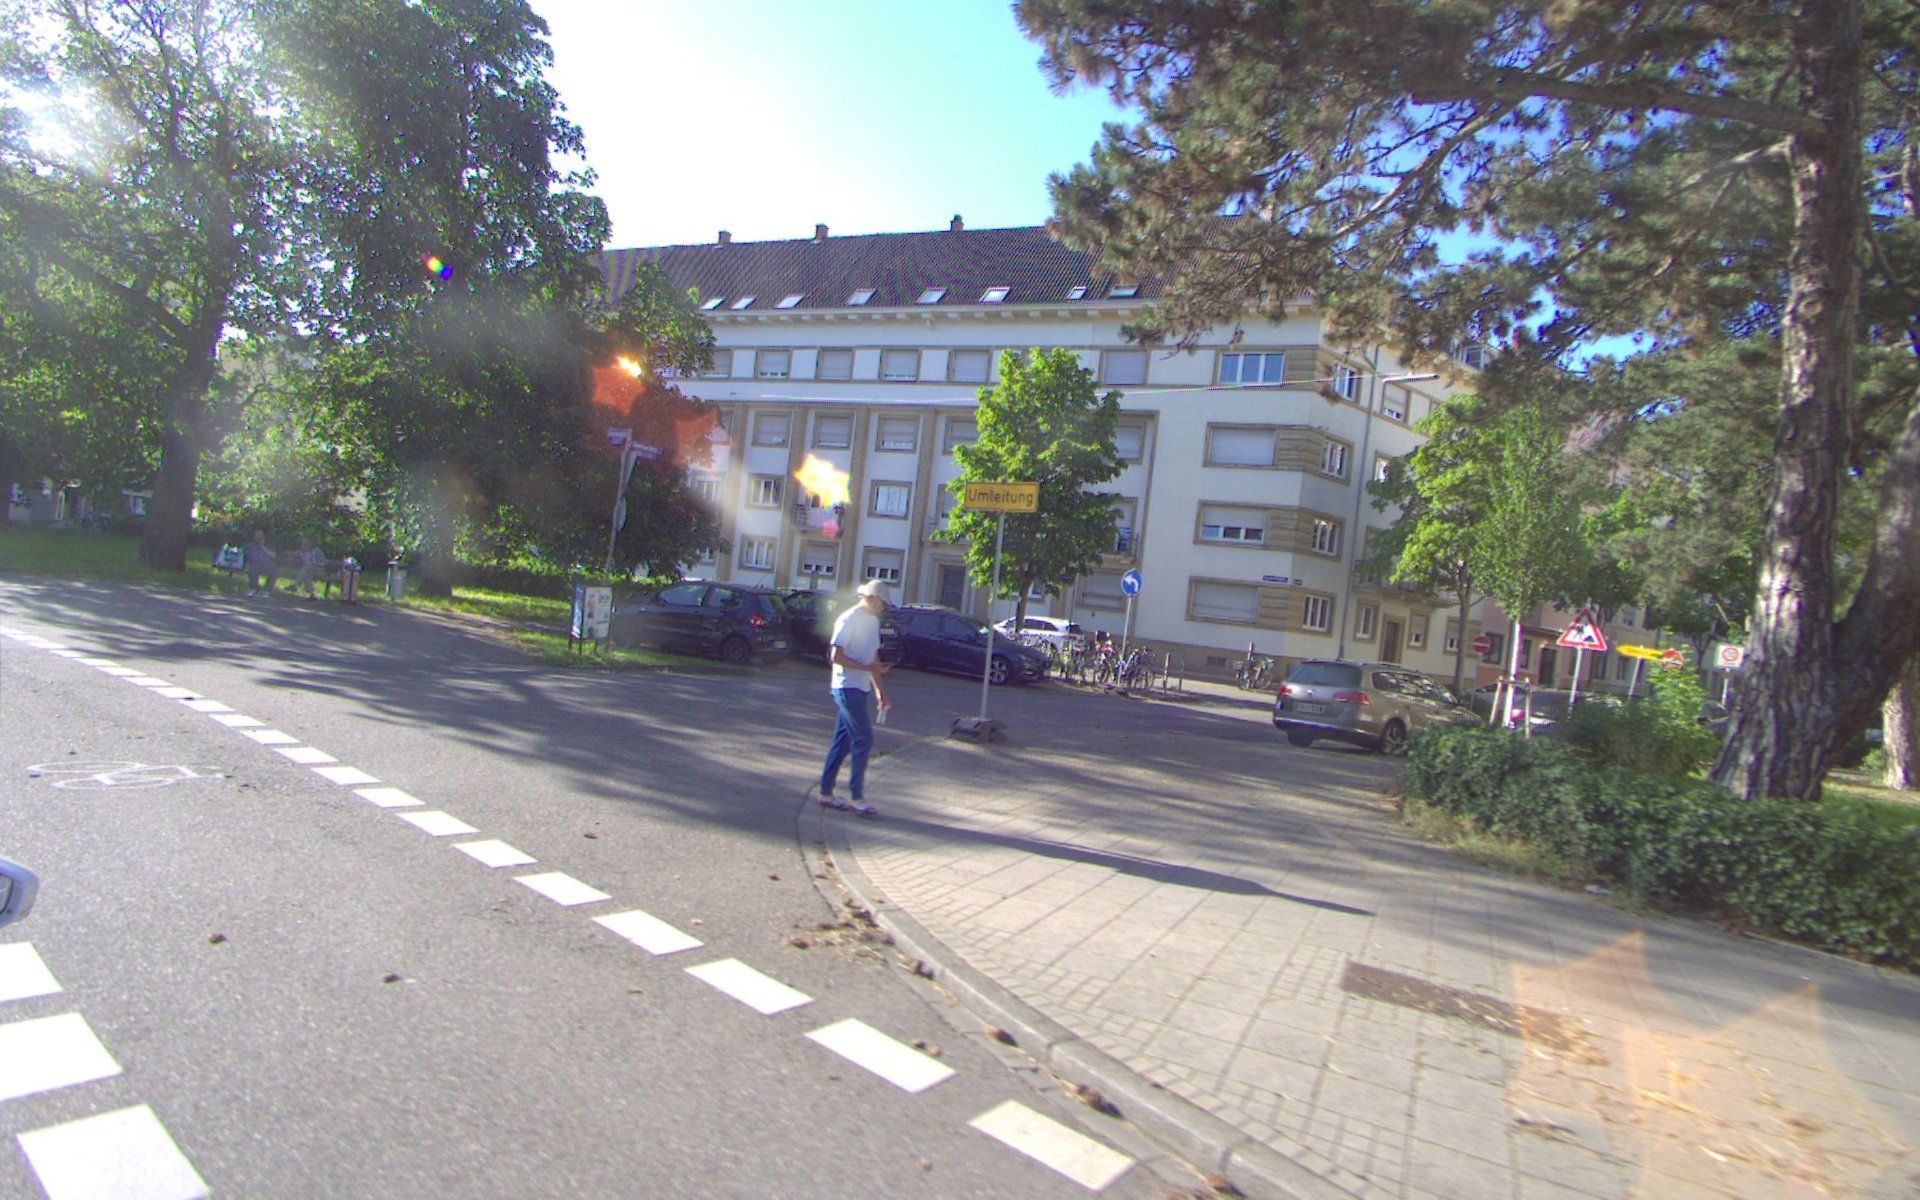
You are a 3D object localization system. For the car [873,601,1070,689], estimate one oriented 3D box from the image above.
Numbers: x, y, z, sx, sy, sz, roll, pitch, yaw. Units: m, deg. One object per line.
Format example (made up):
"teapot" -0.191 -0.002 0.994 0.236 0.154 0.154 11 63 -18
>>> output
"car" 0.268 1.018 23.439 4.163 1.458 1.640 7 1 22

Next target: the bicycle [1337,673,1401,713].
"bicycle" 15.266 3.477 37.603 2.035 1.202 0.594 5 -3 44

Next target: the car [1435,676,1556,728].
"car" 22.391 4.237 42.177 1.803 1.569 3.963 10 -3 -35

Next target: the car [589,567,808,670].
"car" -5.108 0.356 19.743 3.736 1.513 1.641 7 1 16

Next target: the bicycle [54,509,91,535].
"bicycle" -41.943 -3.684 47.551 1.764 1.046 0.599 7 -2 27

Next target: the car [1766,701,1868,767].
"car" 27.623 4.341 32.390 3.974 1.628 1.781 10 -4 -40

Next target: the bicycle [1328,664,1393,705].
"bicycle" 14.725 3.097 37.012 2.035 1.202 0.594 5 -3 44

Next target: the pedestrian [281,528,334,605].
"pedestrian" -12.811 -0.656 19.737 0.681 1.388 0.748 9 -2 -36

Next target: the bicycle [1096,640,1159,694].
"bicycle" 4.356 1.721 26.370 0.552 1.240 2.332 8 -3 -15

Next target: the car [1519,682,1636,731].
"car" 27.843 4.807 45.460 1.984 1.569 3.963 10 -3 -35

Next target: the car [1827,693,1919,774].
"car" 35.068 5.135 38.342 5.283 2.469 2.103 10 -3 -40

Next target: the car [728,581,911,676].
"car" -3.094 0.604 21.867 3.745 1.592 1.453 7 1 31

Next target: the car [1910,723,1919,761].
"car" 45.629 6.773 46.625 3.974 1.628 1.781 10 -4 -40

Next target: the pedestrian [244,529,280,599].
"pedestrian" -13.206 -0.675 19.026 0.401 1.240 0.754 9 -2 -35

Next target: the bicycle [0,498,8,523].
"bicycle" -58.222 -5.523 59.588 0.597 1.414 2.479 7 -3 26

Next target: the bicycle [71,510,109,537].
"bicycle" -41.621 -3.650 48.128 1.972 1.046 0.599 7 -2 27

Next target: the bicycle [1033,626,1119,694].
"bicycle" 2.937 1.508 25.695 0.747 1.474 2.319 9 -3 -31

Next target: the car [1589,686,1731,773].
"car" 17.491 3.249 25.085 3.883 1.732 1.750 8 -1 -39

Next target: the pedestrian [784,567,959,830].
"pedestrian" -0.636 0.694 7.402 0.713 1.744 0.881 7 1 33

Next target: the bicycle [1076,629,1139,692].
"bicycle" 3.800 1.545 26.128 0.552 1.474 2.331 8 -3 -16

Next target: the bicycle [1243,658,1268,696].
"bicycle" 10.372 2.710 35.297 0.586 1.201 2.064 7 -3 20

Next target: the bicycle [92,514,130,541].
"bicycle" -40.937 -3.505 48.495 1.956 1.046 0.599 7 -2 27

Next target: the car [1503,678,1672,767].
"car" 13.336 2.576 21.317 3.880 1.488 1.750 6 1 -39

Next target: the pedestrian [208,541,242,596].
"pedestrian" -13.714 -0.599 18.779 0.401 0.945 0.617 9 0 -35

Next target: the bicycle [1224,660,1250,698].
"bicycle" 9.769 2.786 35.452 0.586 1.201 2.064 7 -3 20

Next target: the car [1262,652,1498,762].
"car" 7.042 1.776 16.660 4.270 1.519 1.752 6 -3 -39

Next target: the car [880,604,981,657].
"car" -0.860 0.898 31.064 1.548 1.389 3.349 6 3 29

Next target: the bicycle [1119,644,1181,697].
"bicycle" 4.975 1.832 26.468 0.546 1.231 2.332 8 -3 -14
